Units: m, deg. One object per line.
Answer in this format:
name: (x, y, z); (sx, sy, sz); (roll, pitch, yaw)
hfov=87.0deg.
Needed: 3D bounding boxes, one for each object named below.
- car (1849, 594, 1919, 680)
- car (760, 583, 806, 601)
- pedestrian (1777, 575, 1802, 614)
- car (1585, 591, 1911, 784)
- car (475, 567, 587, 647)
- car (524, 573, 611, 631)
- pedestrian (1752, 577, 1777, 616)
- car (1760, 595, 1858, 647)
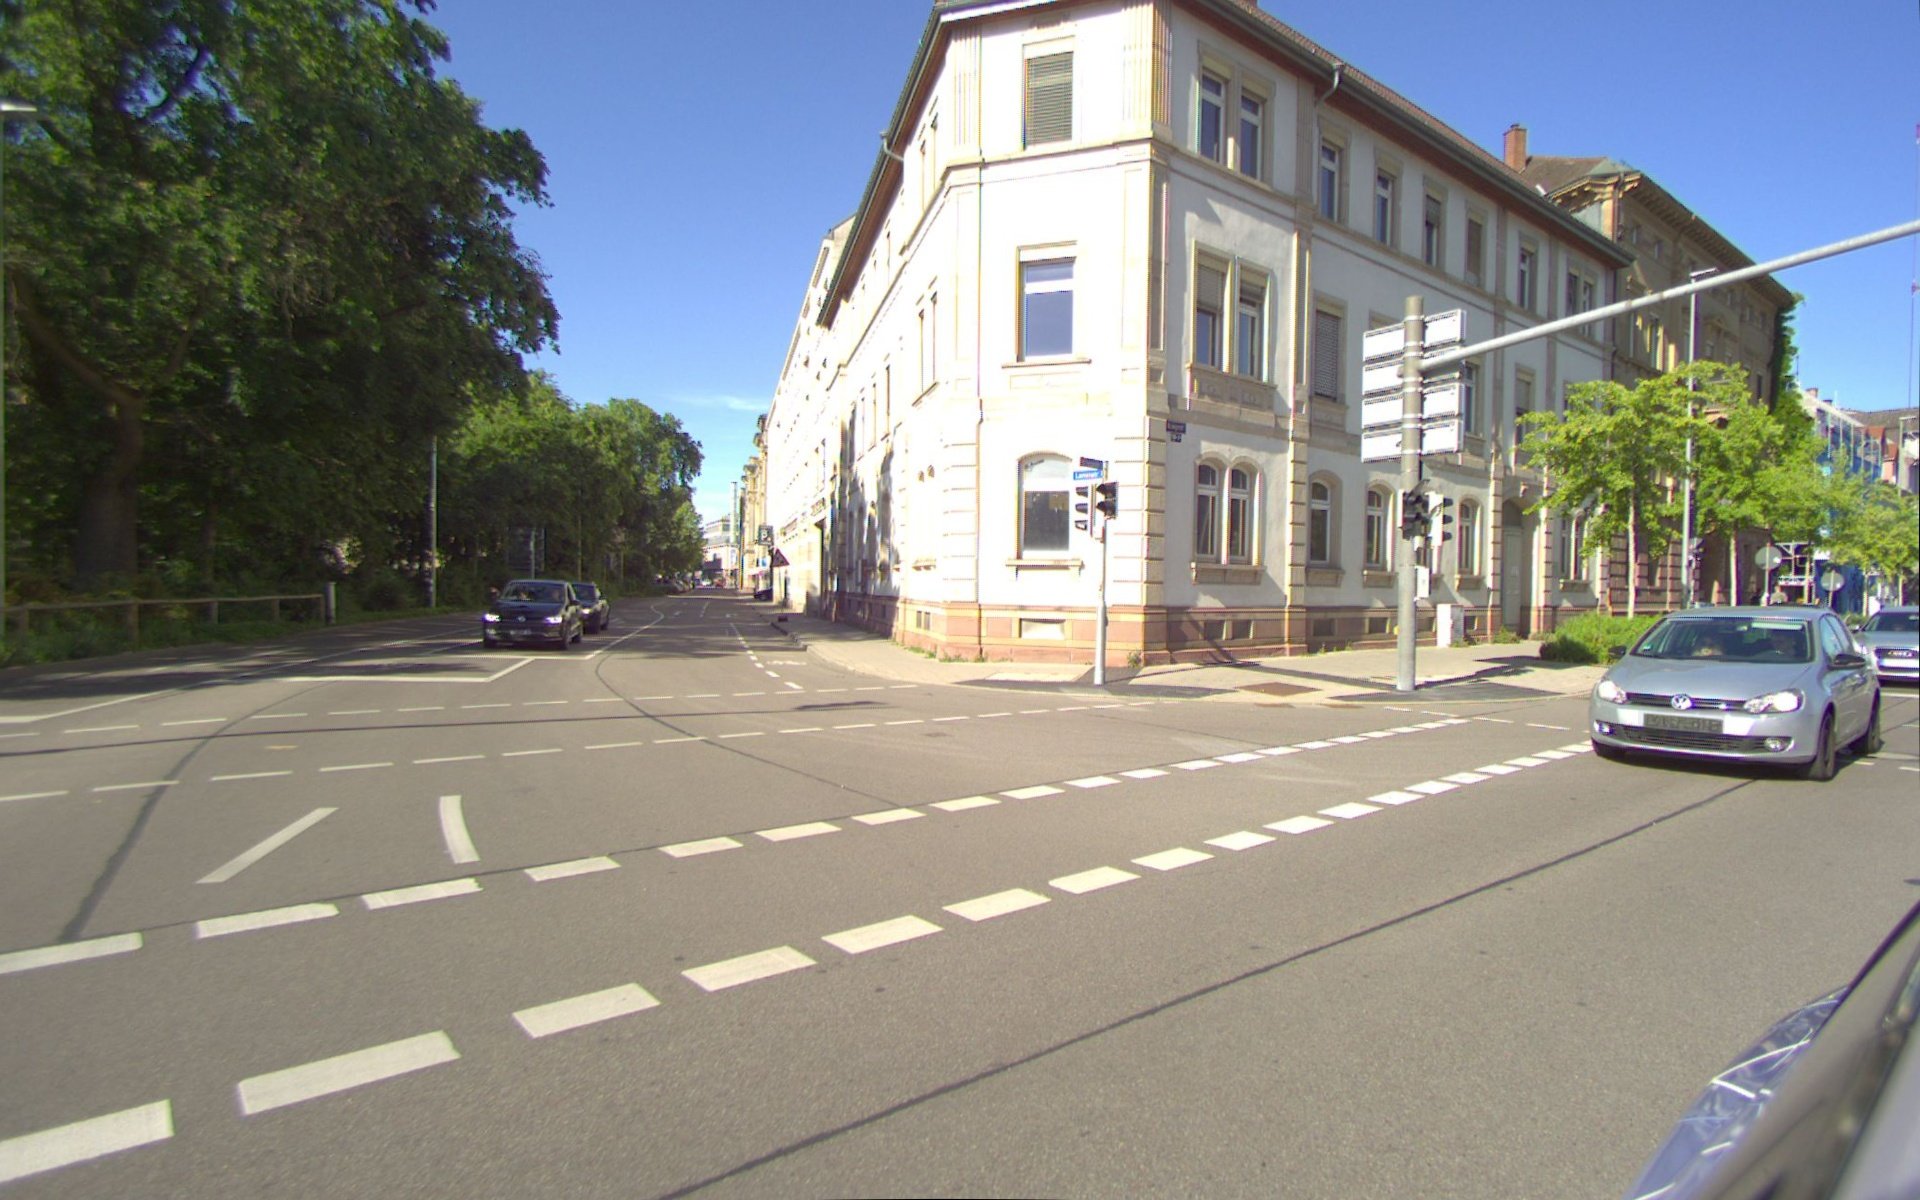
car: (17.859, 0.629, 18.490); (3.929, 1.442, 1.838); (-1, 0, -40)
car: (-15.574, -0.731, 88.916); (3.916, 1.549, 2.004); (0, 0, -13)
pedestrian: (33.879, -0.237, 41.338); (0.891, 1.581, 0.668); (0, 0, -41)
car: (7.749, 0.669, 9.833); (3.929, 1.493, 1.702); (-1, 0, -40)
car: (-9.269, 0.135, 22.140); (1.696, 1.501, 4.008); (3, -1, -16)
car: (-11.014, 0.028, 28.641); (1.821, 1.457, 4.009); (2, 0, -15)
pedestrian: (33.290, -0.156, 41.870); (0.891, 1.581, 0.668); (0, 0, -41)
car: (26.149, 0.598, 31.140); (3.929, 1.461, 1.609); (-1, 2, -40)
